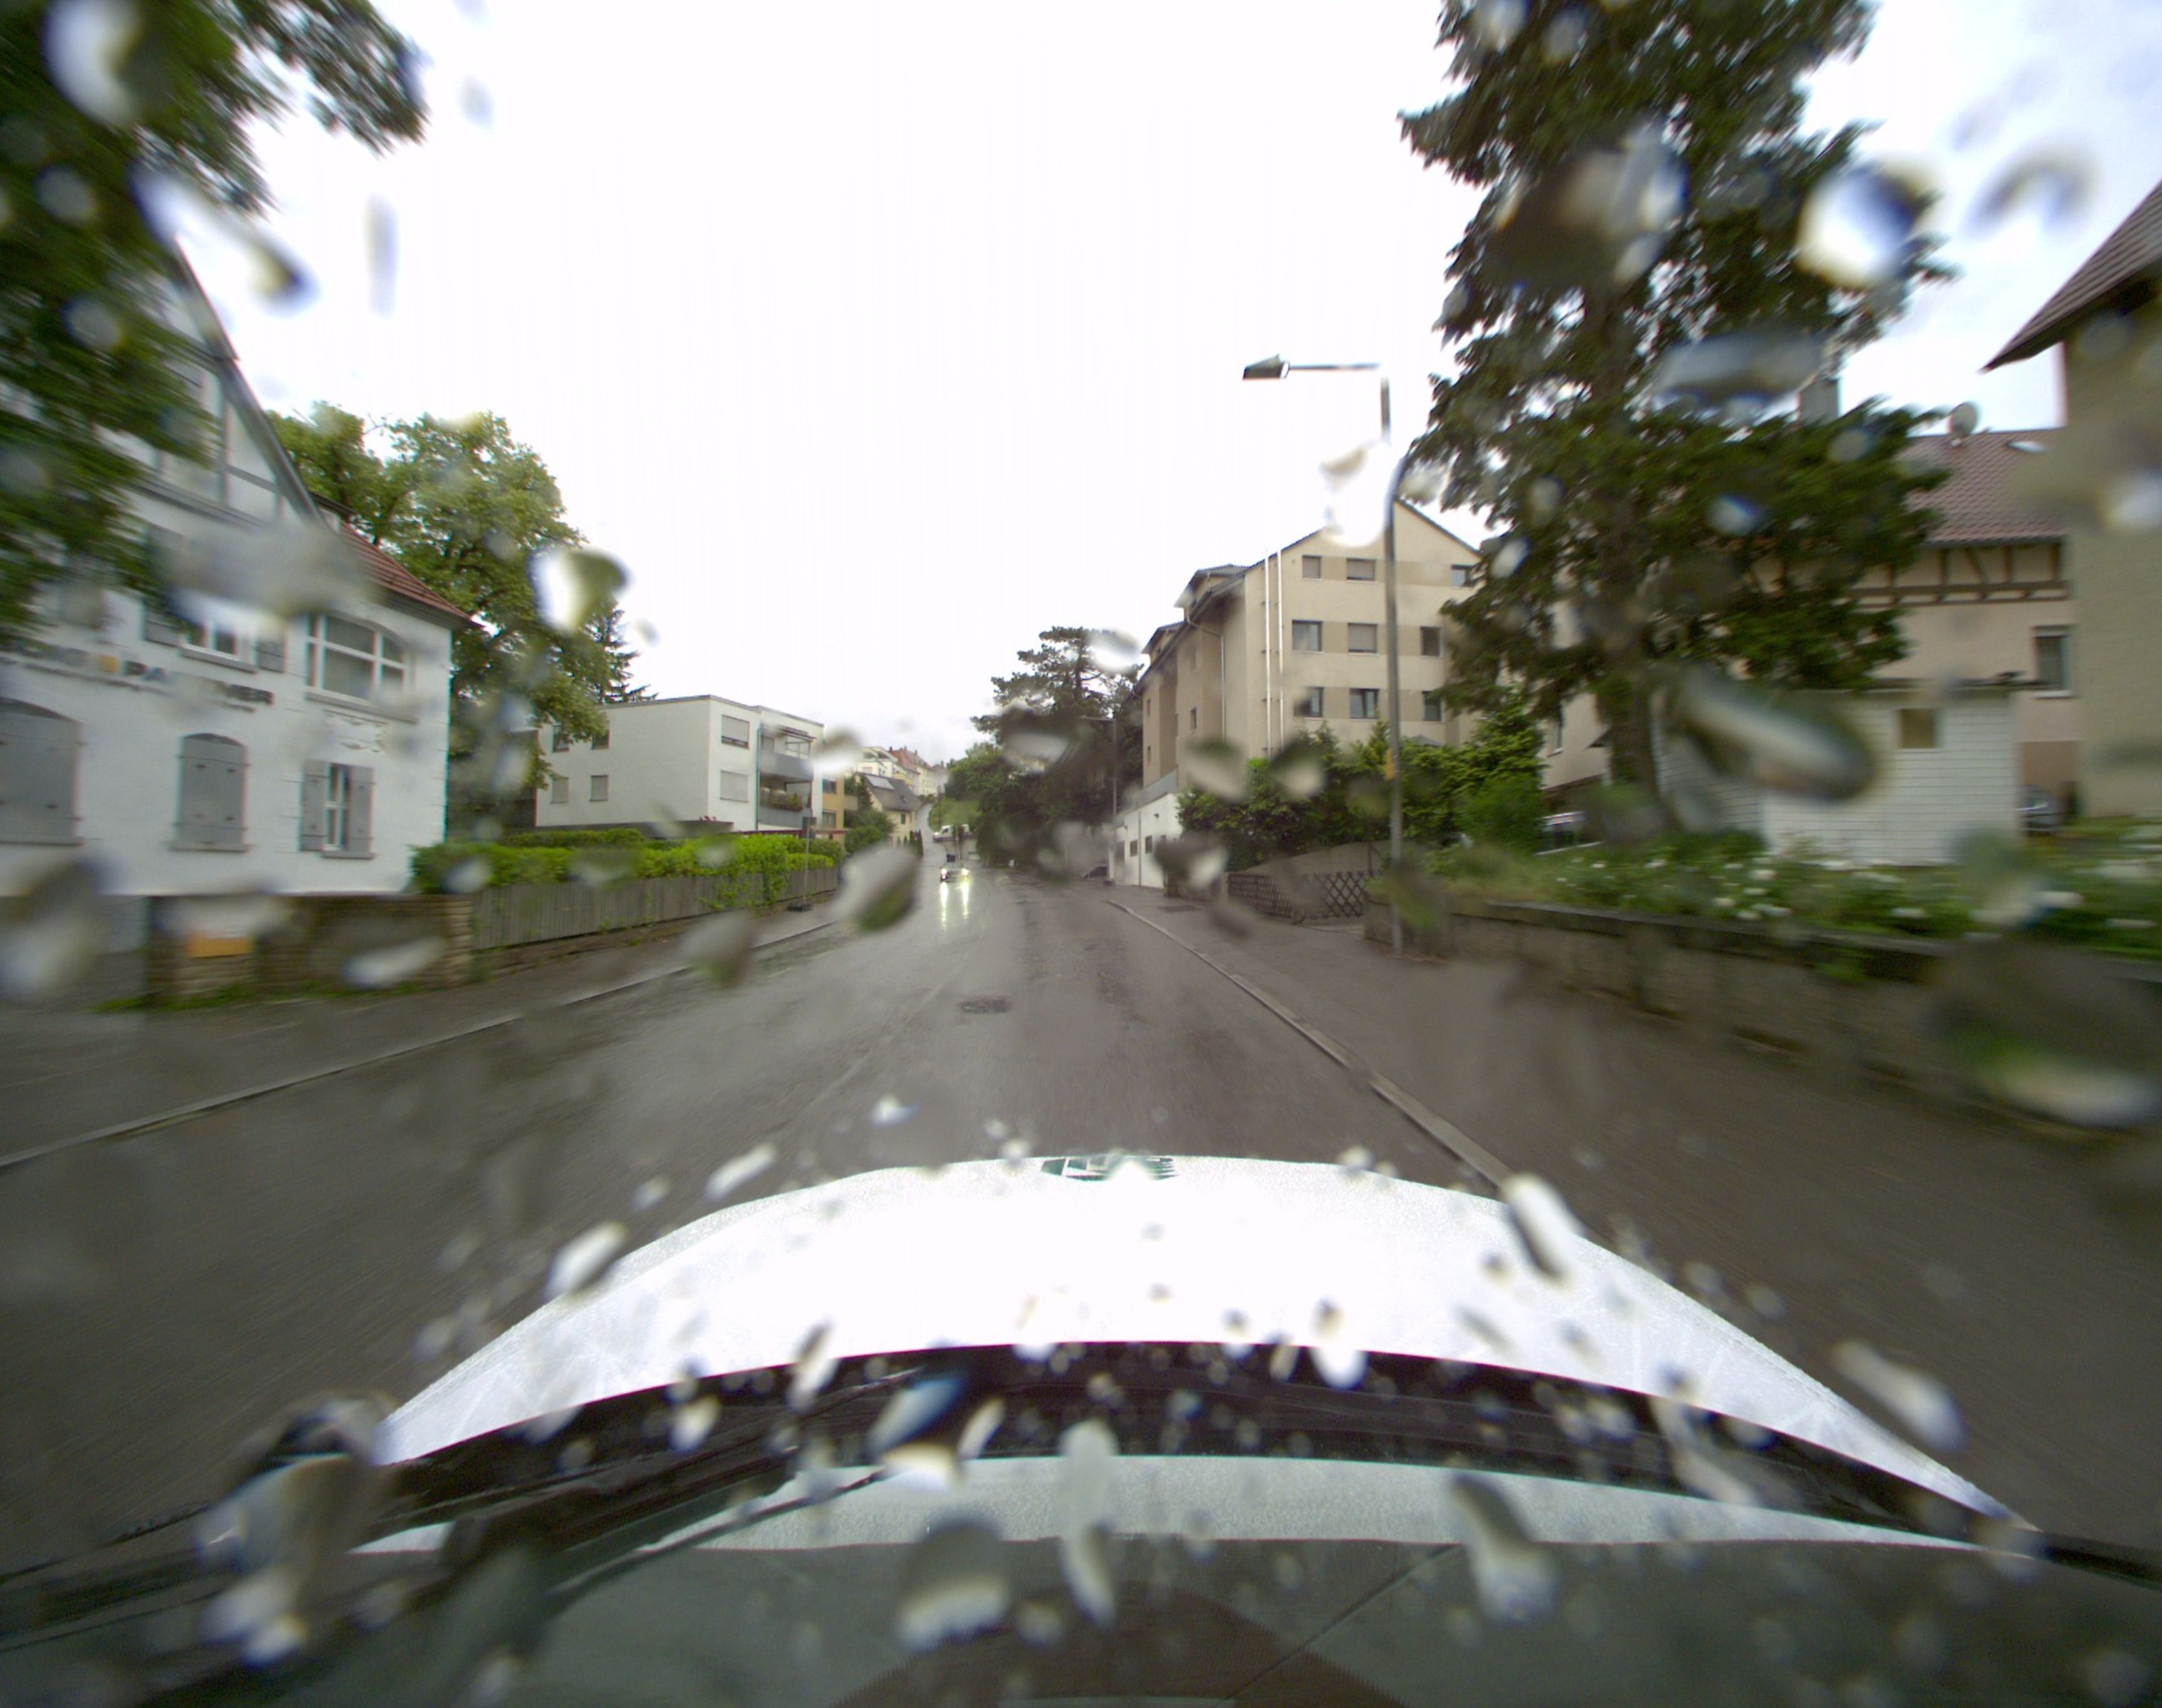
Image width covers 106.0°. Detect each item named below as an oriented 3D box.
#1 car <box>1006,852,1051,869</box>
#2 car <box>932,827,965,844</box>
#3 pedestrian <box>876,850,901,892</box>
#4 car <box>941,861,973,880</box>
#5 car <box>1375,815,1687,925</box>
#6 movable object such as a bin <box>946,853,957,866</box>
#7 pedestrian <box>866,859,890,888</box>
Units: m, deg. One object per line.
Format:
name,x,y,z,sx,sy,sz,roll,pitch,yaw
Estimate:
car,-5.182,0.607,80.165,4.150,1.476,1.895,-2,1,-15
car,-21.531,-3.025,132.200,4.957,2.569,1.893,-3,1,-19
pedestrian,-7.746,0.680,32.785,0.755,1.644,1.037,3,-1,-5
car,-8.065,1.037,53.351,1.675,1.146,3.995,-1,0,-3
car,7.557,0.271,14.093,4.294,1.653,1.967,-2,0,6
movable object such as a bin,-14.585,0.609,91.591,1.082,1.442,1.452,1,0,-12
pedestrian,-8.410,0.801,33.797,0.755,1.180,1.037,3,-1,-5
